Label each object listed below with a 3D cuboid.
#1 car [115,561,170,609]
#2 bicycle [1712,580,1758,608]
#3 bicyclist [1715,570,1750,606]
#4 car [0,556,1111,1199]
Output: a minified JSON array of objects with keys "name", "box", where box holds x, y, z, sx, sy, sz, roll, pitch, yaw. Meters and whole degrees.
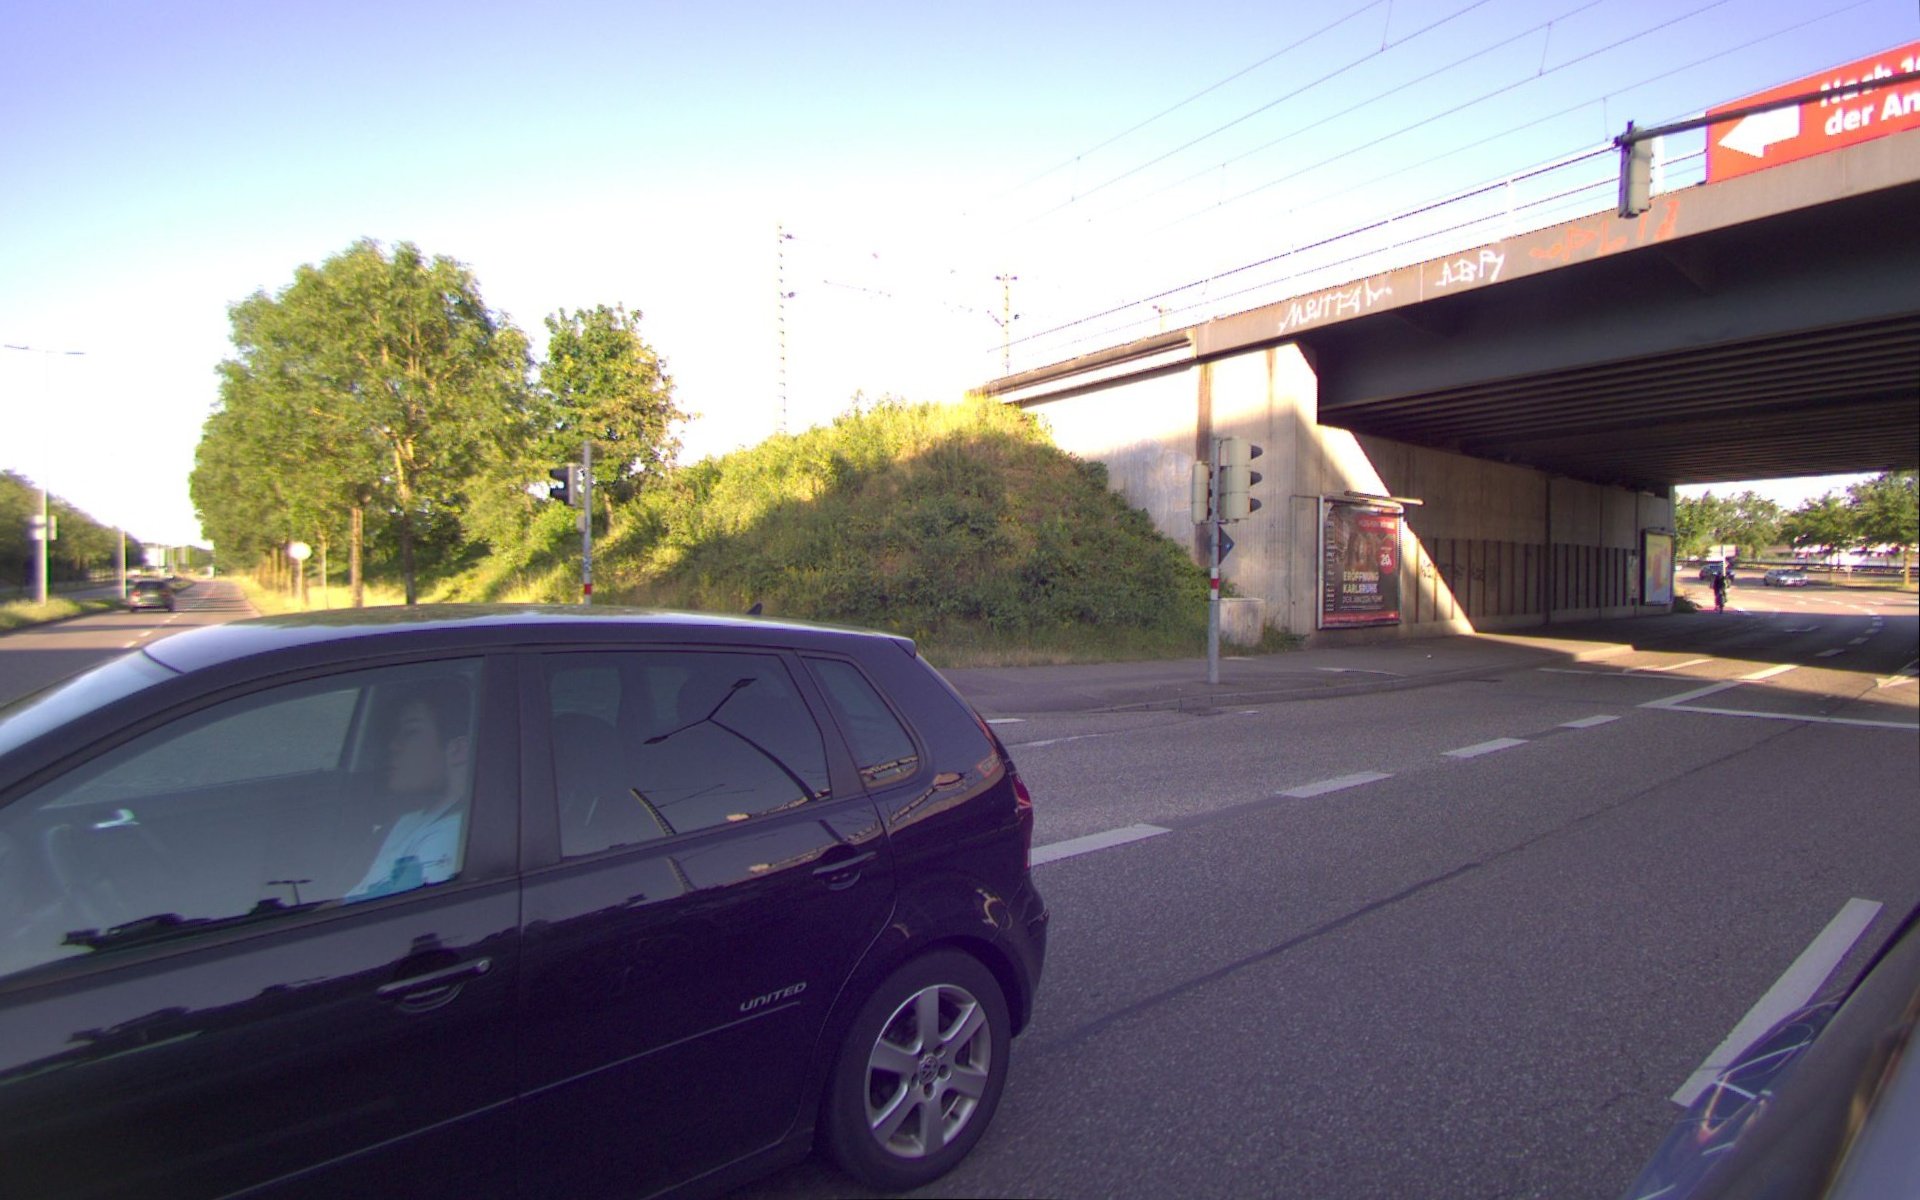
[{"name":"car","box":[-40.113,-0.708,49.730,1.964,2.206,3.996,-2,1,-38]},{"name":"bicycle","box":[31.415,-0.270,41.043,0.773,1.070,2.479,-2,1,21]},{"name":"bicyclist","box":[31.463,-0.496,41.241,0.833,1.439,1.106,-2,0,22]},{"name":"car","box":[-1.459,0.654,2.283,3.621,1.427,1.618,-2,1,-42]}]
